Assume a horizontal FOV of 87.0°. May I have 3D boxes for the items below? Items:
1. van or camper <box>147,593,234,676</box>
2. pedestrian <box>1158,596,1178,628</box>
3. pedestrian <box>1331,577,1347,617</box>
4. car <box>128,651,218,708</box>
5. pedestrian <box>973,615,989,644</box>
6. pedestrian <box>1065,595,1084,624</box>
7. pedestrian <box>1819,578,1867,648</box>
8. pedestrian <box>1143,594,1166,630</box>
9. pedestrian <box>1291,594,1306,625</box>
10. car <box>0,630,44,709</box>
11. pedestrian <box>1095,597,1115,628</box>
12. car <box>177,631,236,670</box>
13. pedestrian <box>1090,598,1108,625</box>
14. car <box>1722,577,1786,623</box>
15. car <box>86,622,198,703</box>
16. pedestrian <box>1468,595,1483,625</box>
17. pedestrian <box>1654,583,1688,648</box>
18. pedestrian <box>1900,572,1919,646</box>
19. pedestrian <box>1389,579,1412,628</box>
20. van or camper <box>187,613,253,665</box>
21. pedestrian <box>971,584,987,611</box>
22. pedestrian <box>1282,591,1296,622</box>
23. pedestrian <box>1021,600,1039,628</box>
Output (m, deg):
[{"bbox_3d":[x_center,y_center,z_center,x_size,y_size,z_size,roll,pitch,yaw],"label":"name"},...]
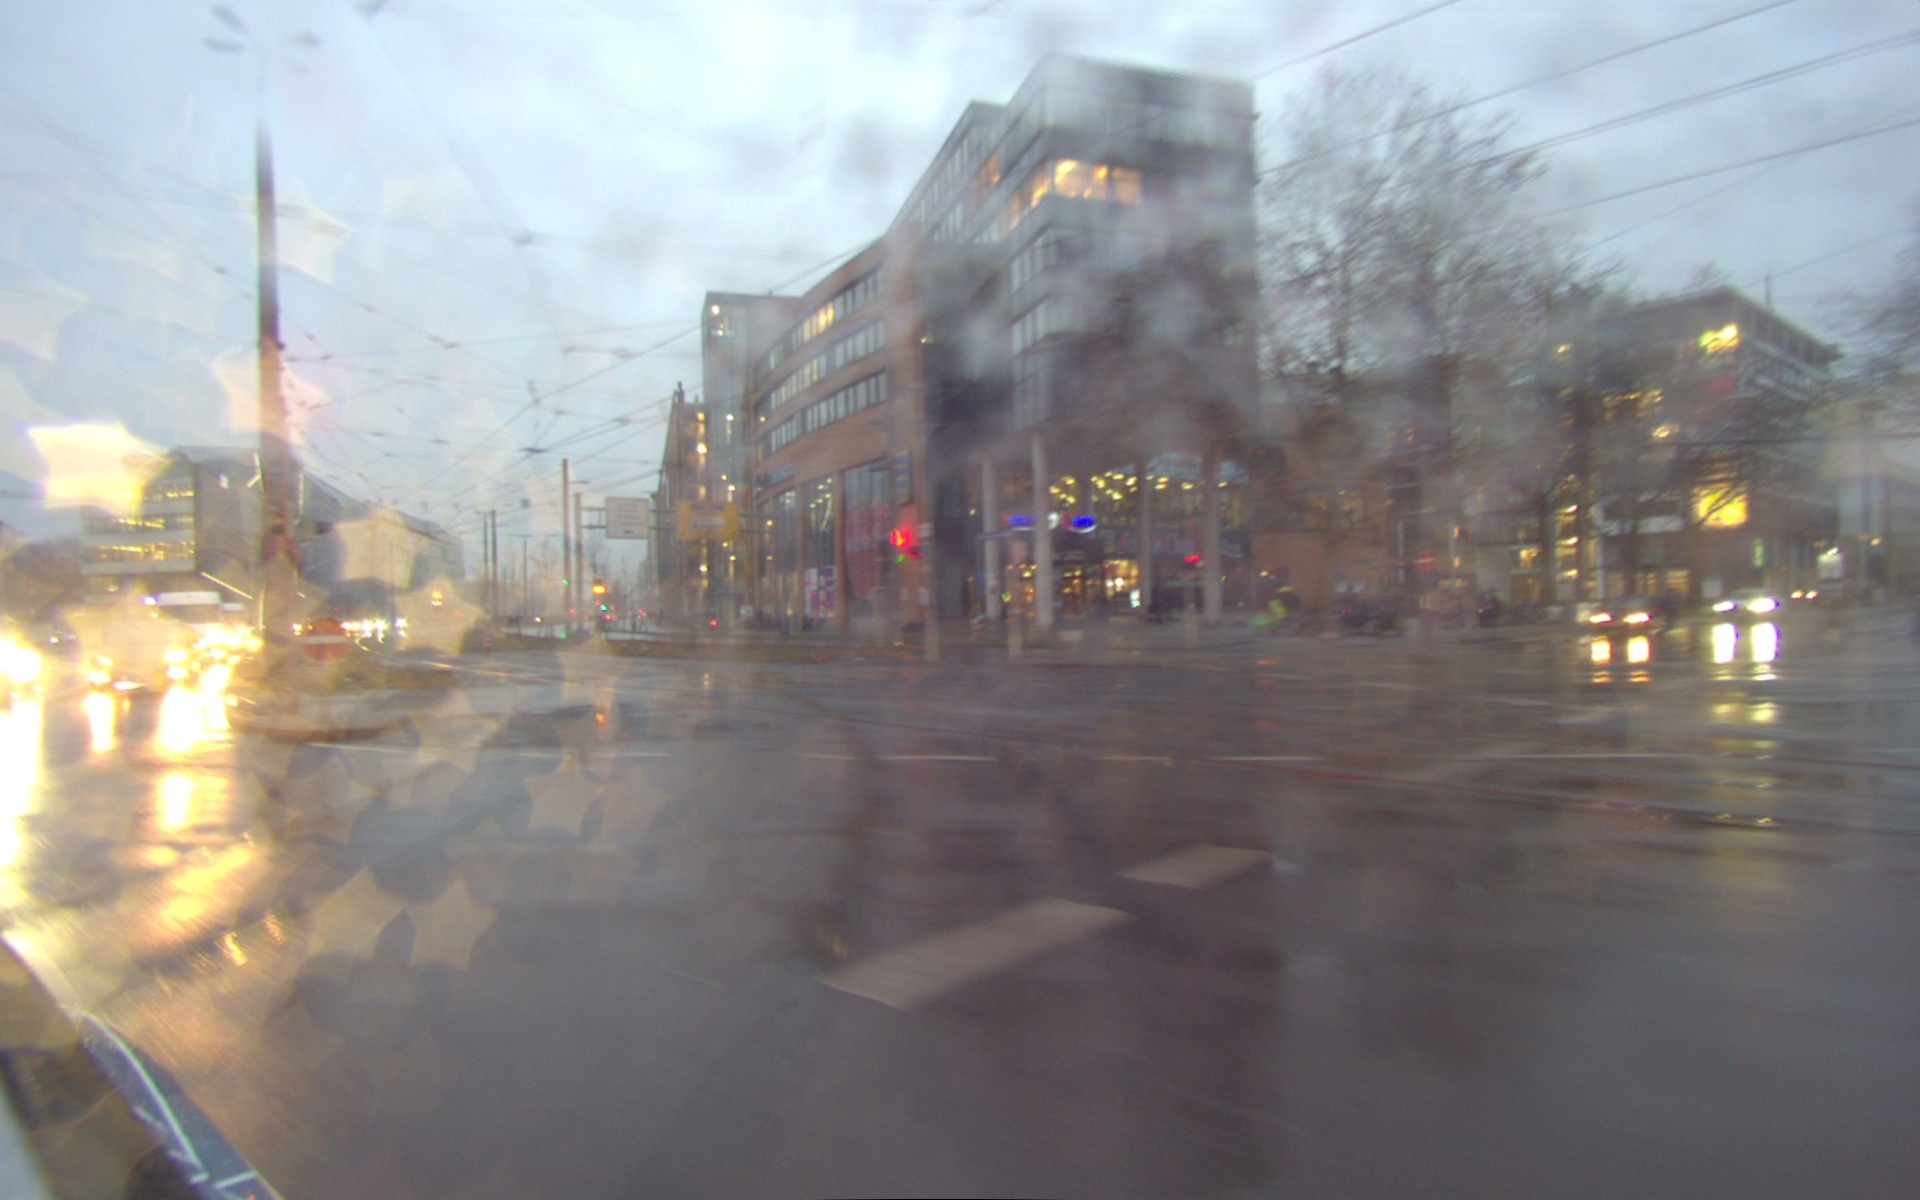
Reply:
[{"bbox_3d":[-26.841,1.177,35.484,2.028,2.567,5.900,-3,0,-34],"label":"van or camper"},{"bbox_3d":[11.273,0.652,54.805,0.715,1.721,0.696,-1,-2,-27],"label":"pedestrian"},{"bbox_3d":[16.457,-0.135,43.953,0.593,1.696,0.558,-2,-1,20],"label":"pedestrian"},{"bbox_3d":[-22.661,2.226,29.266,1.796,1.342,4.235,-3,0,-35],"label":"car"},{"bbox_3d":[0.918,1.297,44.527,0.439,1.274,0.497,-3,0,-40],"label":"pedestrian"},{"bbox_3d":[6.913,0.598,61.001,0.682,1.721,0.929,-1,-2,-32],"label":"pedestrian"},{"bbox_3d":[26.204,0.396,30.050,0.700,2.029,0.775,-2,-1,12],"label":"pedestrian"},{"bbox_3d":[10.467,0.652,54.564,0.762,1.859,0.925,-1,-2,-26],"label":"pedestrian"},{"bbox_3d":[19.373,0.563,57.877,0.643,1.764,0.447,-1,-1,-36],"label":"pedestrian"},{"bbox_3d":[-19.567,1.352,19.998,1.746,1.469,4.231,-1,-1,-37],"label":"car"},{"bbox_3d":[7.870,0.679,54.891,0.729,1.669,0.696,-1,-2,-27],"label":"pedestrian"},{"bbox_3d":[-31.424,2.085,42.302,1.796,1.409,3.962,-3,0,-35],"label":"car"},{"bbox_3d":[7.967,0.650,58.021,0.641,1.515,0.696,-1,-2,-27],"label":"pedestrian"},{"bbox_3d":[38.741,-0.001,49.357,4.017,2.153,1.922,0,-1,-45],"label":"car"},{"bbox_3d":[-18.074,1.329,22.505,1.658,1.585,3.770,-1,-1,-35],"label":"car"},{"bbox_3d":[29.796,0.568,58.474,0.588,1.696,0.562,-1,-1,-40],"label":"pedestrian"},{"bbox_3d":[22.496,0.496,32.014,0.756,2.029,0.700,-2,-1,30],"label":"pedestrian"},{"bbox_3d":[26.558,0.234,27.885,0.696,2.029,0.761,-1,-1,-34],"label":"pedestrian"},{"bbox_3d":[18.461,0.152,42.367,0.756,2.029,0.700,-2,-1,30],"label":"pedestrian"},{"bbox_3d":[-37.532,1.979,51.440,2.150,2.370,5.666,-3,0,-32],"label":"van or camper"},{"bbox_3d":[1.115,-0.131,58.693,0.641,1.515,0.696,-1,-2,-27],"label":"pedestrian"},{"bbox_3d":[18.912,0.363,58.198,0.643,1.764,0.447,-1,-1,-36],"label":"pedestrian"},{"bbox_3d":[3.780,0.759,54.758,0.641,1.515,0.696,-1,-2,-27],"label":"pedestrian"}]
